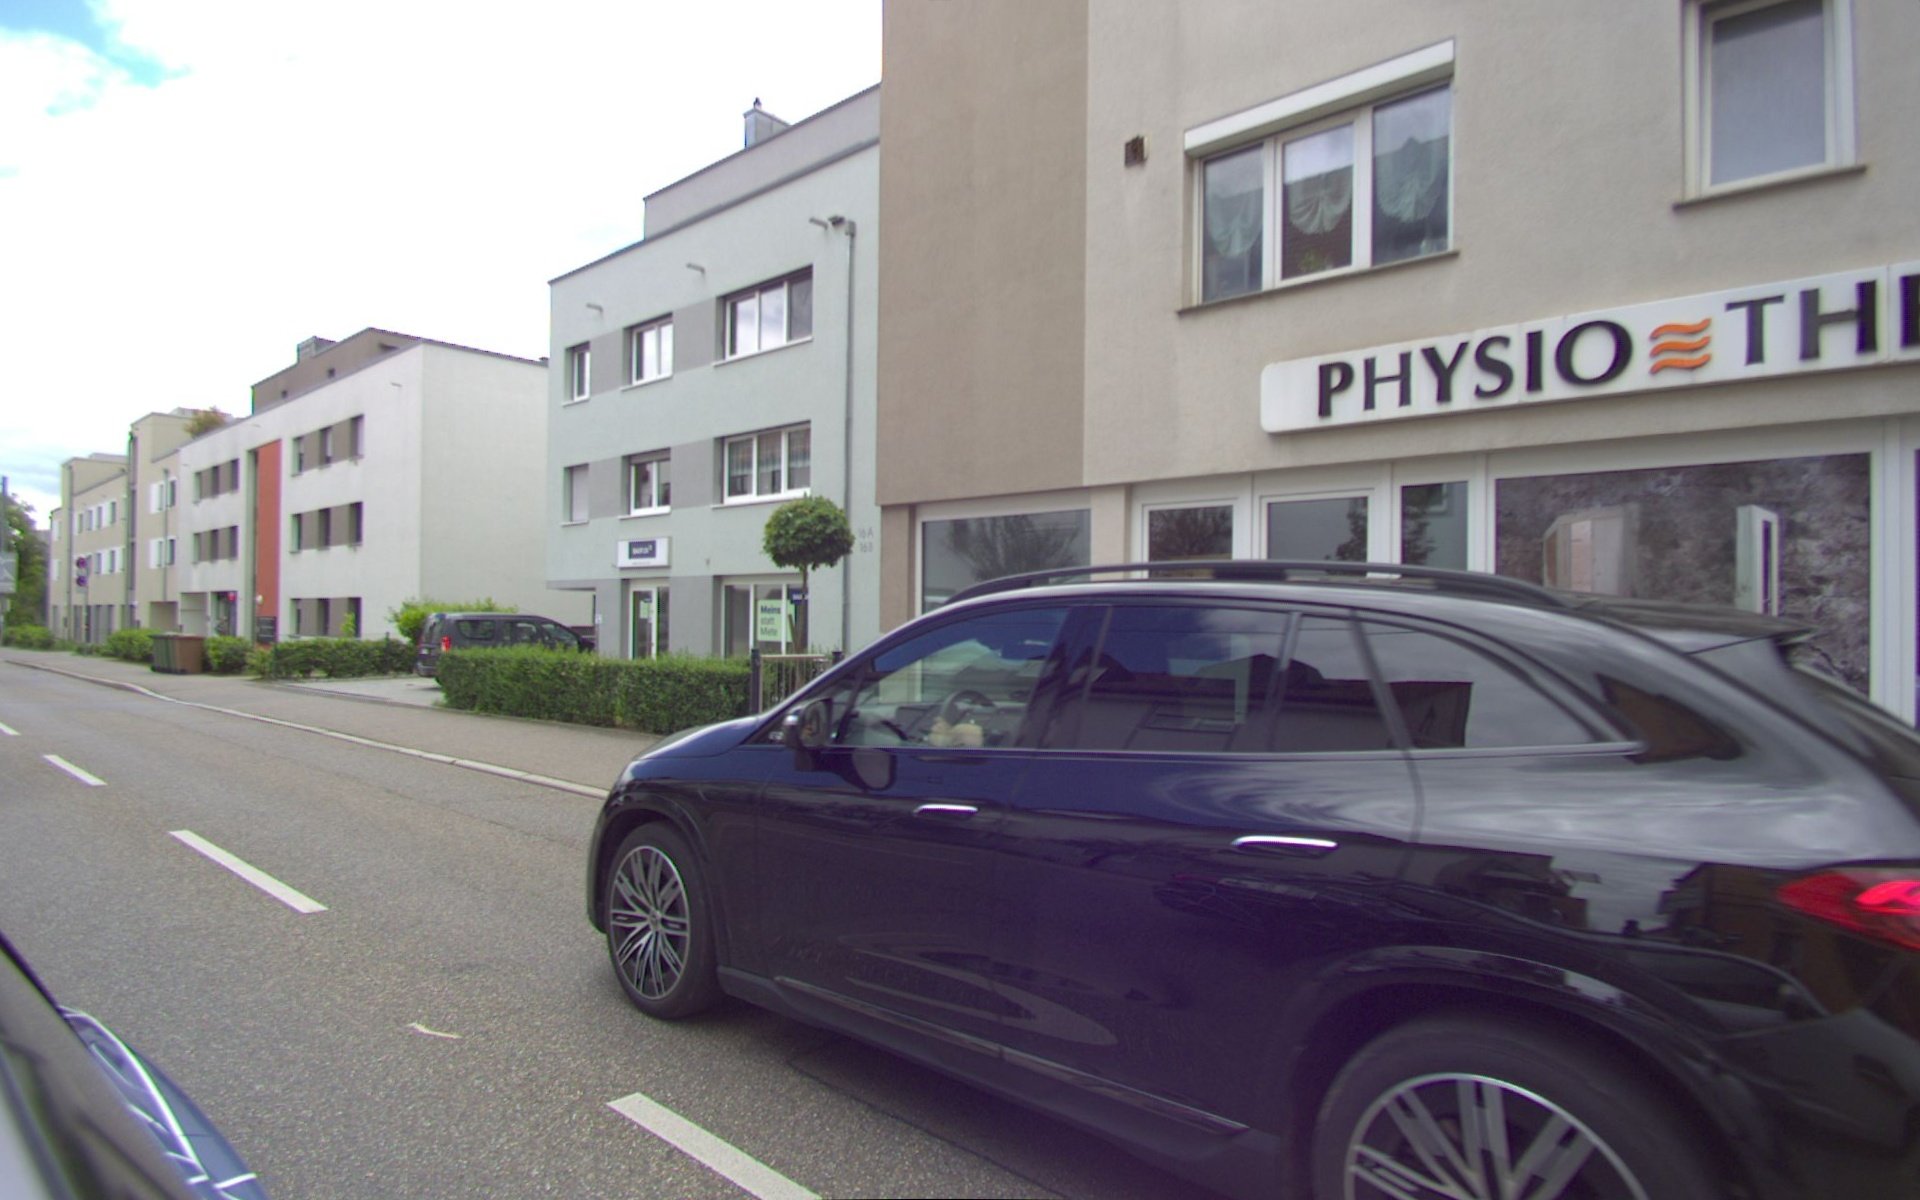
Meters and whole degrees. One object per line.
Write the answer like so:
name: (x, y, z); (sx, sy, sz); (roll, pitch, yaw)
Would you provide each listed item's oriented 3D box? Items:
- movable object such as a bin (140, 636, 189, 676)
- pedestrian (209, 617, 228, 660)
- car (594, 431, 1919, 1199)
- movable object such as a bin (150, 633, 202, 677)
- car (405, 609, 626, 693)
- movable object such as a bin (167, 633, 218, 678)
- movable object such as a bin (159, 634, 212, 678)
movable object such as a bin: (-22.161, 1.546, 28.185); (0.791, 1.097, 0.886); (-1, -2, 37)
pedestrian: (-28.938, 1.507, 39.494); (0.511, 1.655, 0.642); (1, -2, -30)
car: (0.935, 0.687, 3.273); (4.551, 1.752, 1.973); (-1, -4, 41)
movable object such as a bin: (-21.422, 1.479, 27.659); (0.839, 1.160, 0.947); (-1, -2, 37)
car: (-9.745, 1.080, 22.411); (1.725, 1.680, 4.116); (-1, -2, 44)
movable object such as a bin: (-20.232, 1.447, 26.679); (0.612, 1.160, 0.932); (-1, -2, 37)
movable object such as a bin: (-20.784, 1.489, 27.161); (0.748, 1.160, 0.940); (-1, -2, 37)
